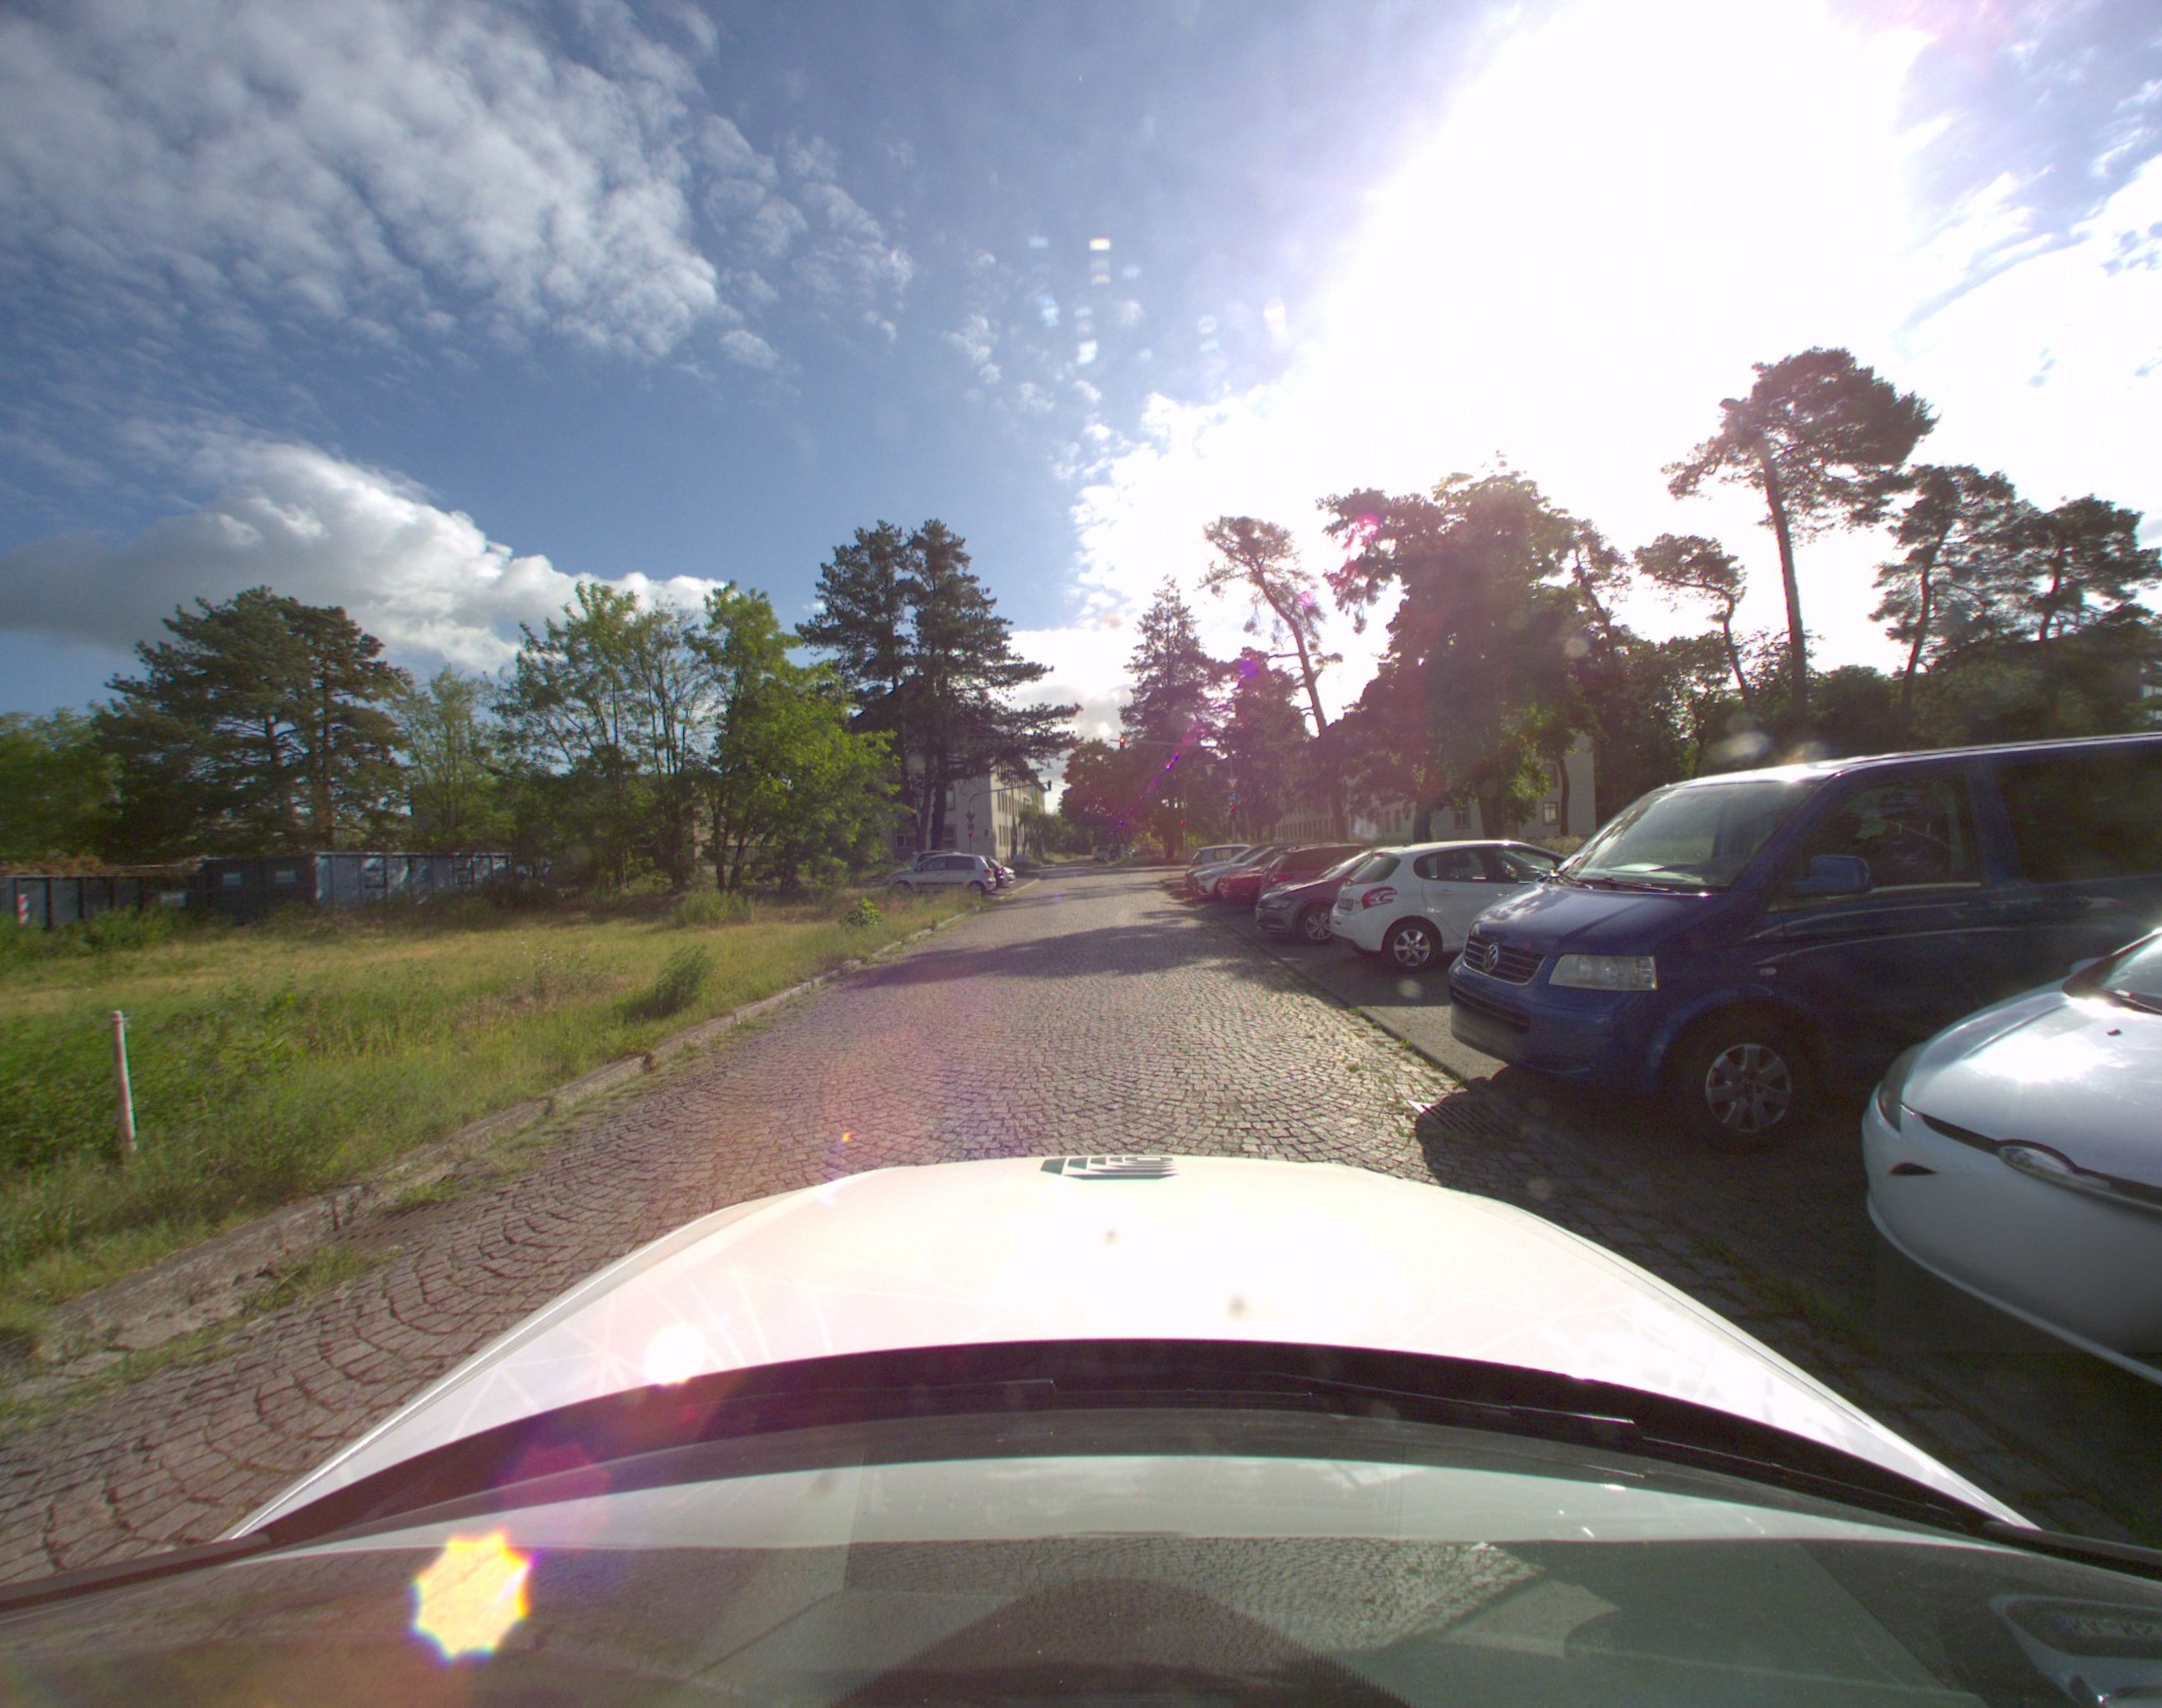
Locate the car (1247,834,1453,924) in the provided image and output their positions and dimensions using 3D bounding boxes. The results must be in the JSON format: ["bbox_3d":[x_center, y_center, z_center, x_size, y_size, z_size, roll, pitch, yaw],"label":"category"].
[{"bbox_3d":[5.188,0.451,16.005,3.467,1.529,1.645,-2,0,0],"label":"car"}]

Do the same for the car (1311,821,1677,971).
[{"bbox_3d":[4.977,0.483,10.199,3.680,1.465,1.646,-4,0,2],"label":"car"}]

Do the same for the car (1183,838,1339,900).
[{"bbox_3d":[5.062,0.403,23.242,4.024,1.529,1.644,-2,0,-3],"label":"car"}]

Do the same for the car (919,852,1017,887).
[{"bbox_3d":[-4.906,0.664,35.847,3.973,1.453,2.000,1,0,1],"label":"car"}]

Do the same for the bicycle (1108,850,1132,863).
[{"bbox_3d":[3.702,0.225,77.698,2.172,1.100,0.804,-2,0,-9],"label":"bicycle"}]

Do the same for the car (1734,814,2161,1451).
[{"bbox_3d":[4.400,0.586,2.349,3.708,1.488,1.645,-3,0,-1],"label":"car"}]

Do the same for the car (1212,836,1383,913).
[{"bbox_3d":[4.881,0.442,18.703,3.467,1.529,1.645,-2,0,0],"label":"car"}]

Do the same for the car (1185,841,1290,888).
[{"bbox_3d":[5.460,0.349,28.650,3.333,1.482,1.645,-2,0,0],"label":"car"}]

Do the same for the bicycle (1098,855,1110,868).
[{"bbox_3d":[2.125,0.677,74.264,0.803,1.169,2.177,-4,1,-4],"label":"bicycle"}]

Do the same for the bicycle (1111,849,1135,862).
[{"bbox_3d":[4.104,0.138,78.846,2.172,1.100,0.804,-2,0,-9],"label":"bicycle"}]

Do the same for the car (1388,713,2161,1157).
[{"bbox_3d":[4.632,0.334,5.005,4.664,2.013,2.082,-2,0,-2],"label":"car"}]

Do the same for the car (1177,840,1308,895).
[{"bbox_3d":[5.087,0.406,26.015,3.823,1.529,1.645,-2,0,0],"label":"car"}]

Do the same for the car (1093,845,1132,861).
[{"bbox_3d":[3.671,-0.165,95.178,4.465,1.728,2.000,-2,0,0],"label":"car"}]

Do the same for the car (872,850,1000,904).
[{"bbox_3d":[-4.908,0.760,28.053,3.976,1.600,1.999,-2,0,-2],"label":"car"}]

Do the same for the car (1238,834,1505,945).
[{"bbox_3d":[4.543,0.529,13.096,3.663,1.467,1.645,-3,0,0],"label":"car"}]

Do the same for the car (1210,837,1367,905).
[{"bbox_3d":[5.289,0.410,21.055,3.591,1.529,1.645,-2,0,0],"label":"car"}]

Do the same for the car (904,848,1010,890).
[{"bbox_3d":[-5.046,0.585,33.447,3.973,1.601,2.000,1,0,1],"label":"car"}]
